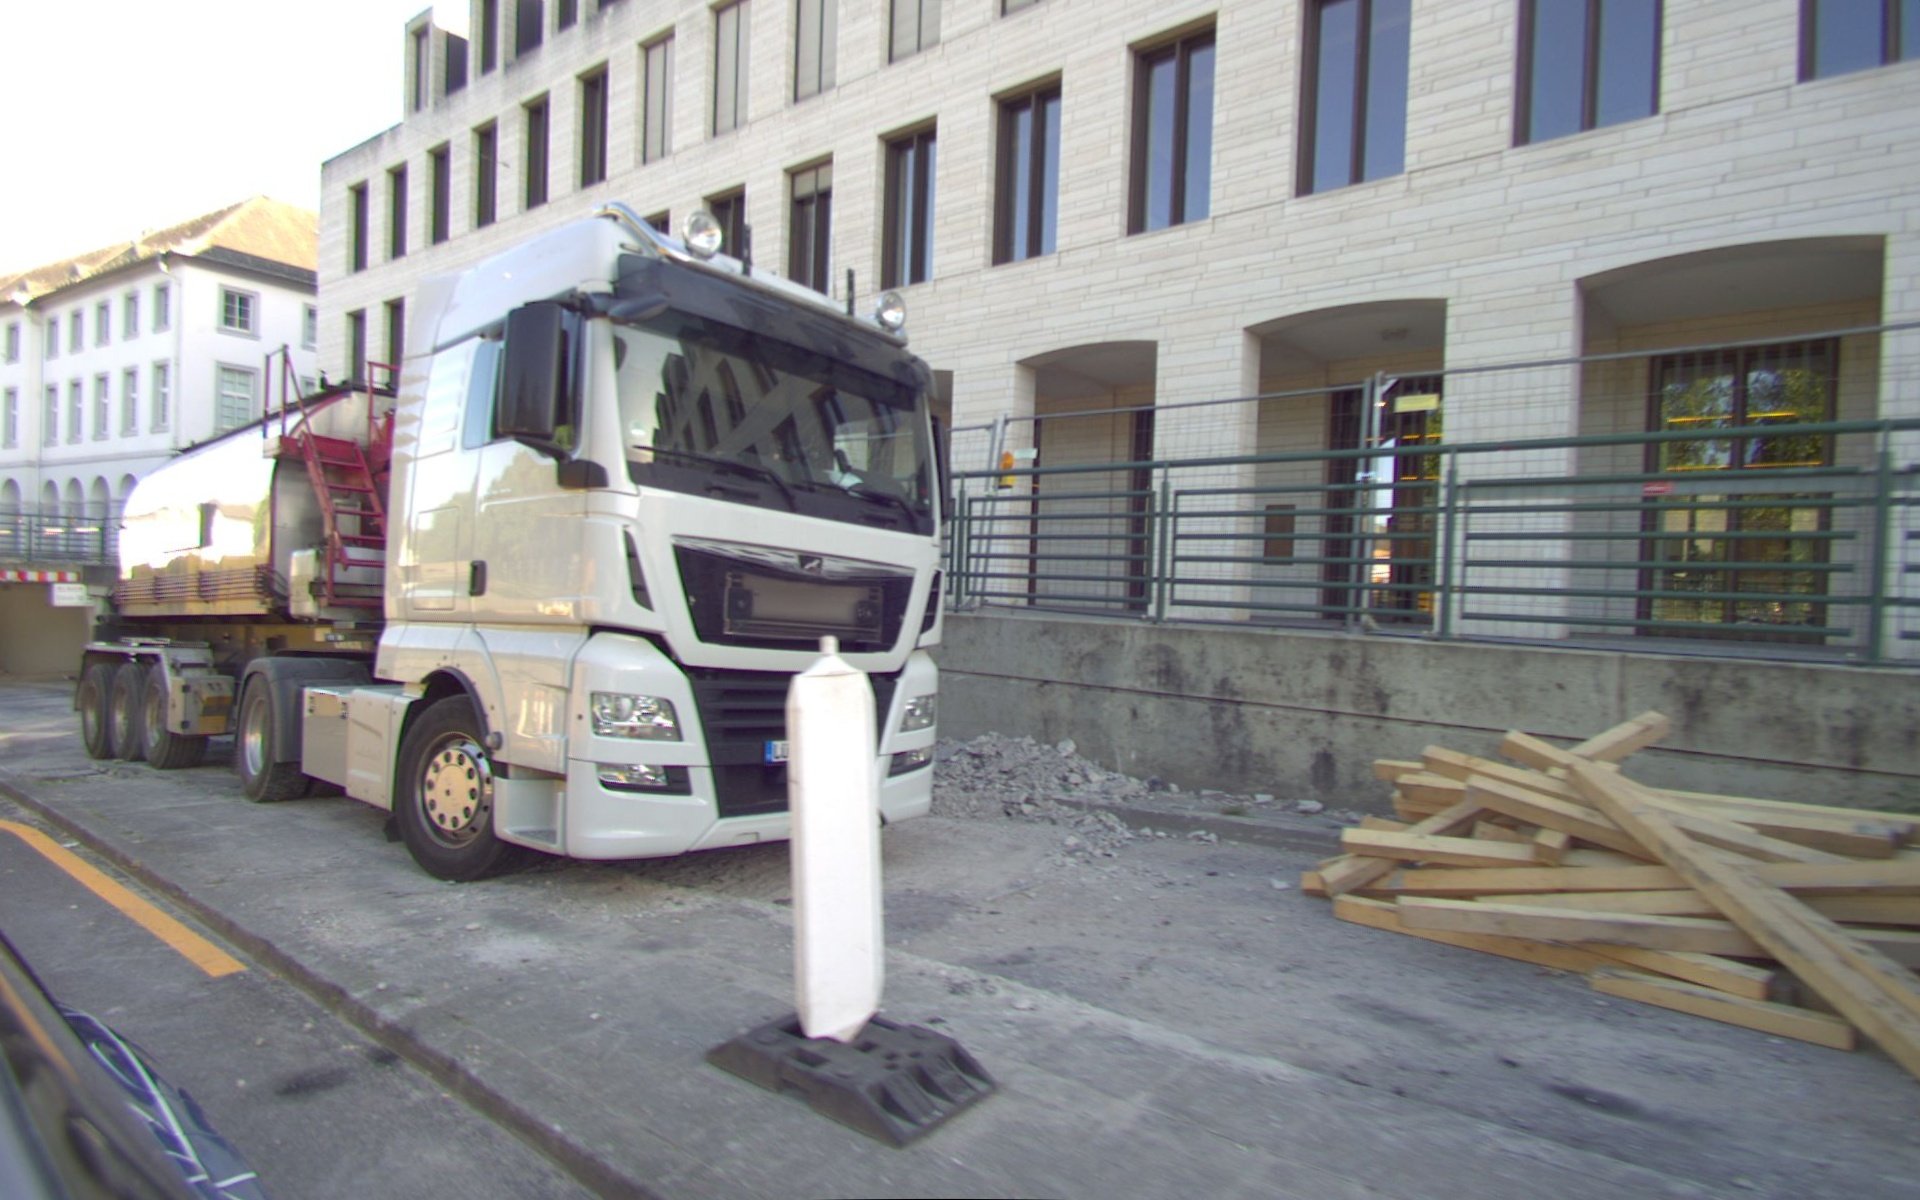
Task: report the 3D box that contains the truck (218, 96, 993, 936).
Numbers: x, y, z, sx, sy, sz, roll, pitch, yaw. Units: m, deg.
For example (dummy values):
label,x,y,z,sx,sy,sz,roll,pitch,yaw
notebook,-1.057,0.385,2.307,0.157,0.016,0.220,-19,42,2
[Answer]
label,x,y,z,sx,sy,sz,roll,pitch,yaw
truck,-2.836,-0.250,7.117,5.814,3.516,2.551,-2,-5,42

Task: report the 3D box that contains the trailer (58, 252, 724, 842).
label,x,y,z,sx,sy,sz,roll,pitch,yaw
trailer,-6.220,-0.197,10.103,8.739,3.697,2.615,-1,-5,39
